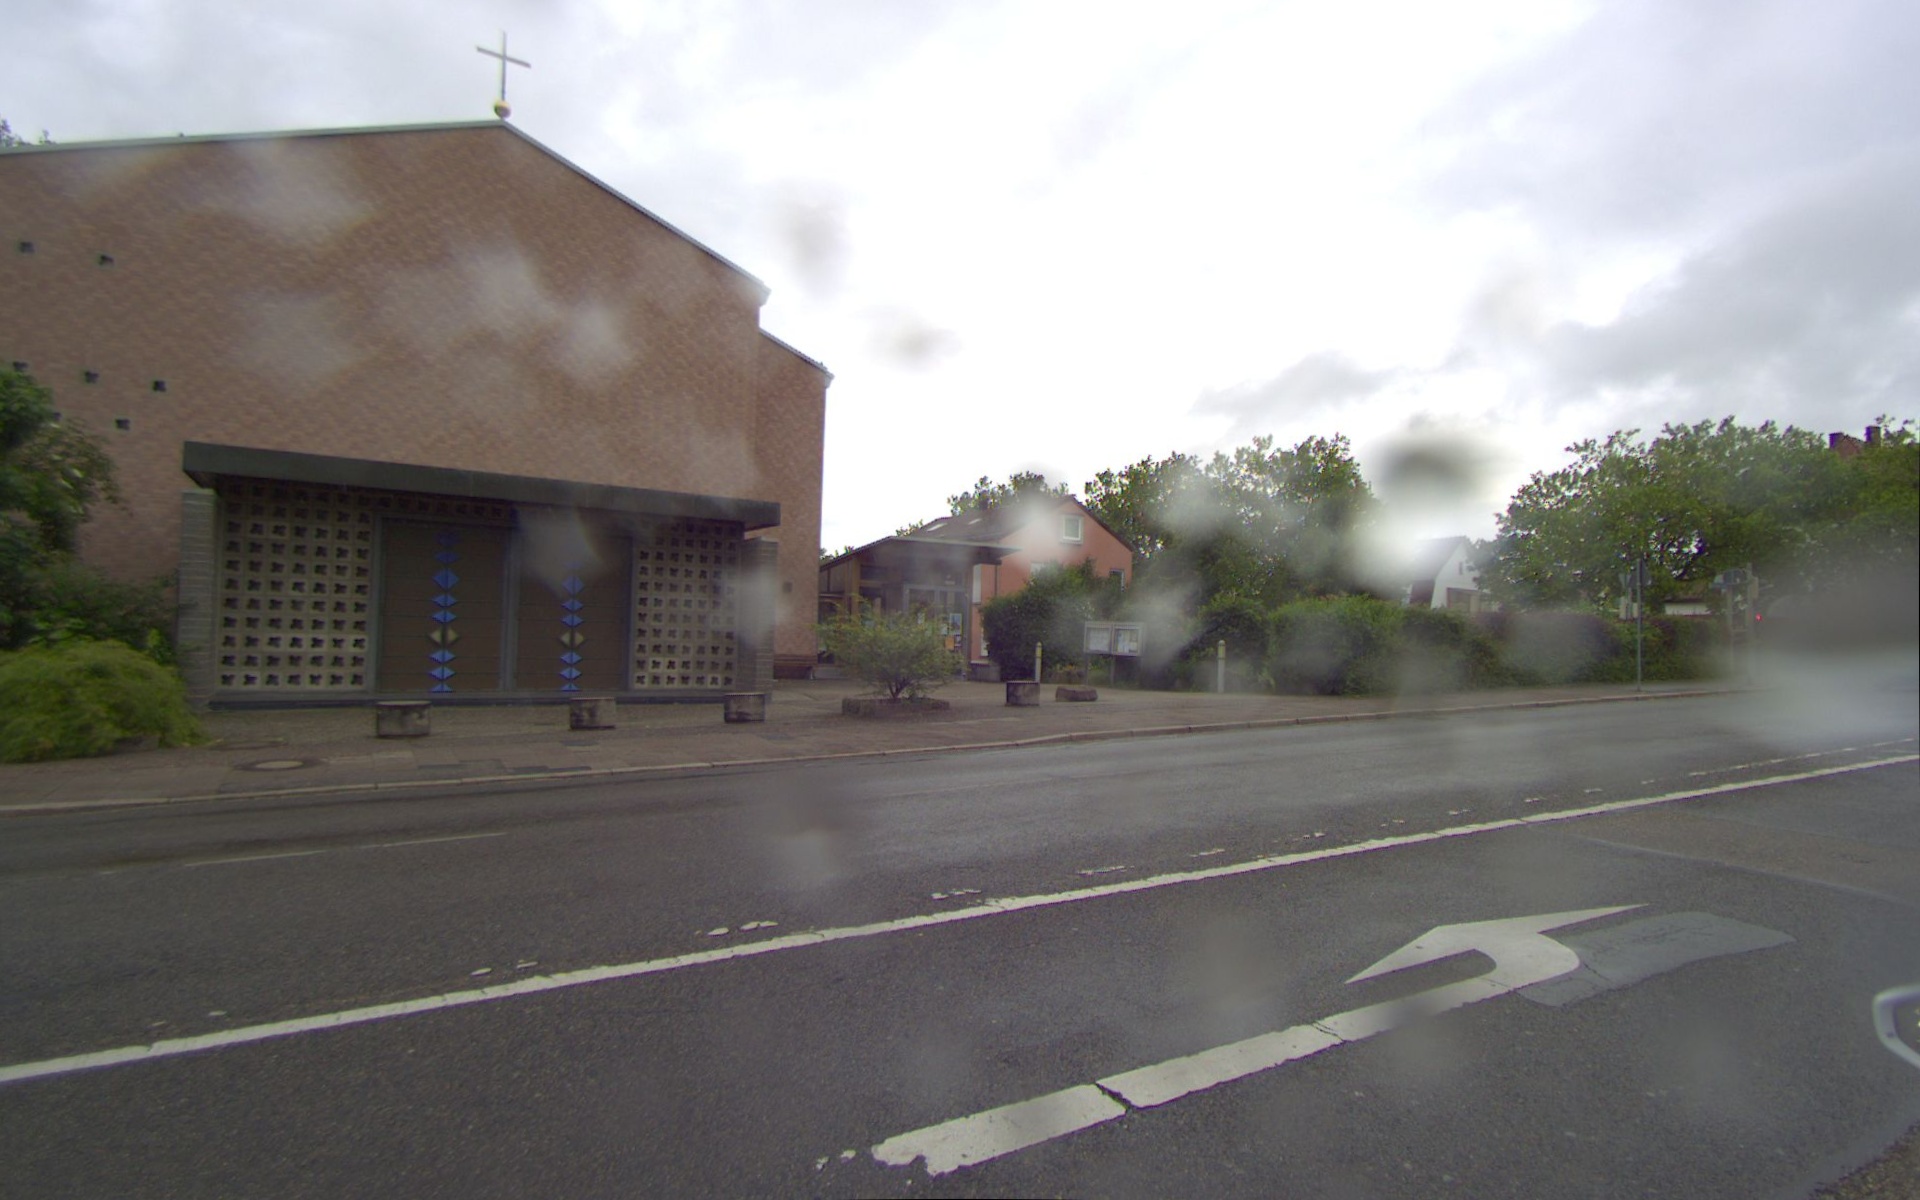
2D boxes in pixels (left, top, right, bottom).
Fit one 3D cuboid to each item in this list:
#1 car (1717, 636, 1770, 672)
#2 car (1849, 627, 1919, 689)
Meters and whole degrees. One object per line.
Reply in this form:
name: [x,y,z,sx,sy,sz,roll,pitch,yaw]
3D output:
car: [38.597,2.619,49.505,1.969,1.572,3.983,0,-1,38]
car: [25.380,1.490,26.290,3.906,1.530,1.985,1,-1,-29]
